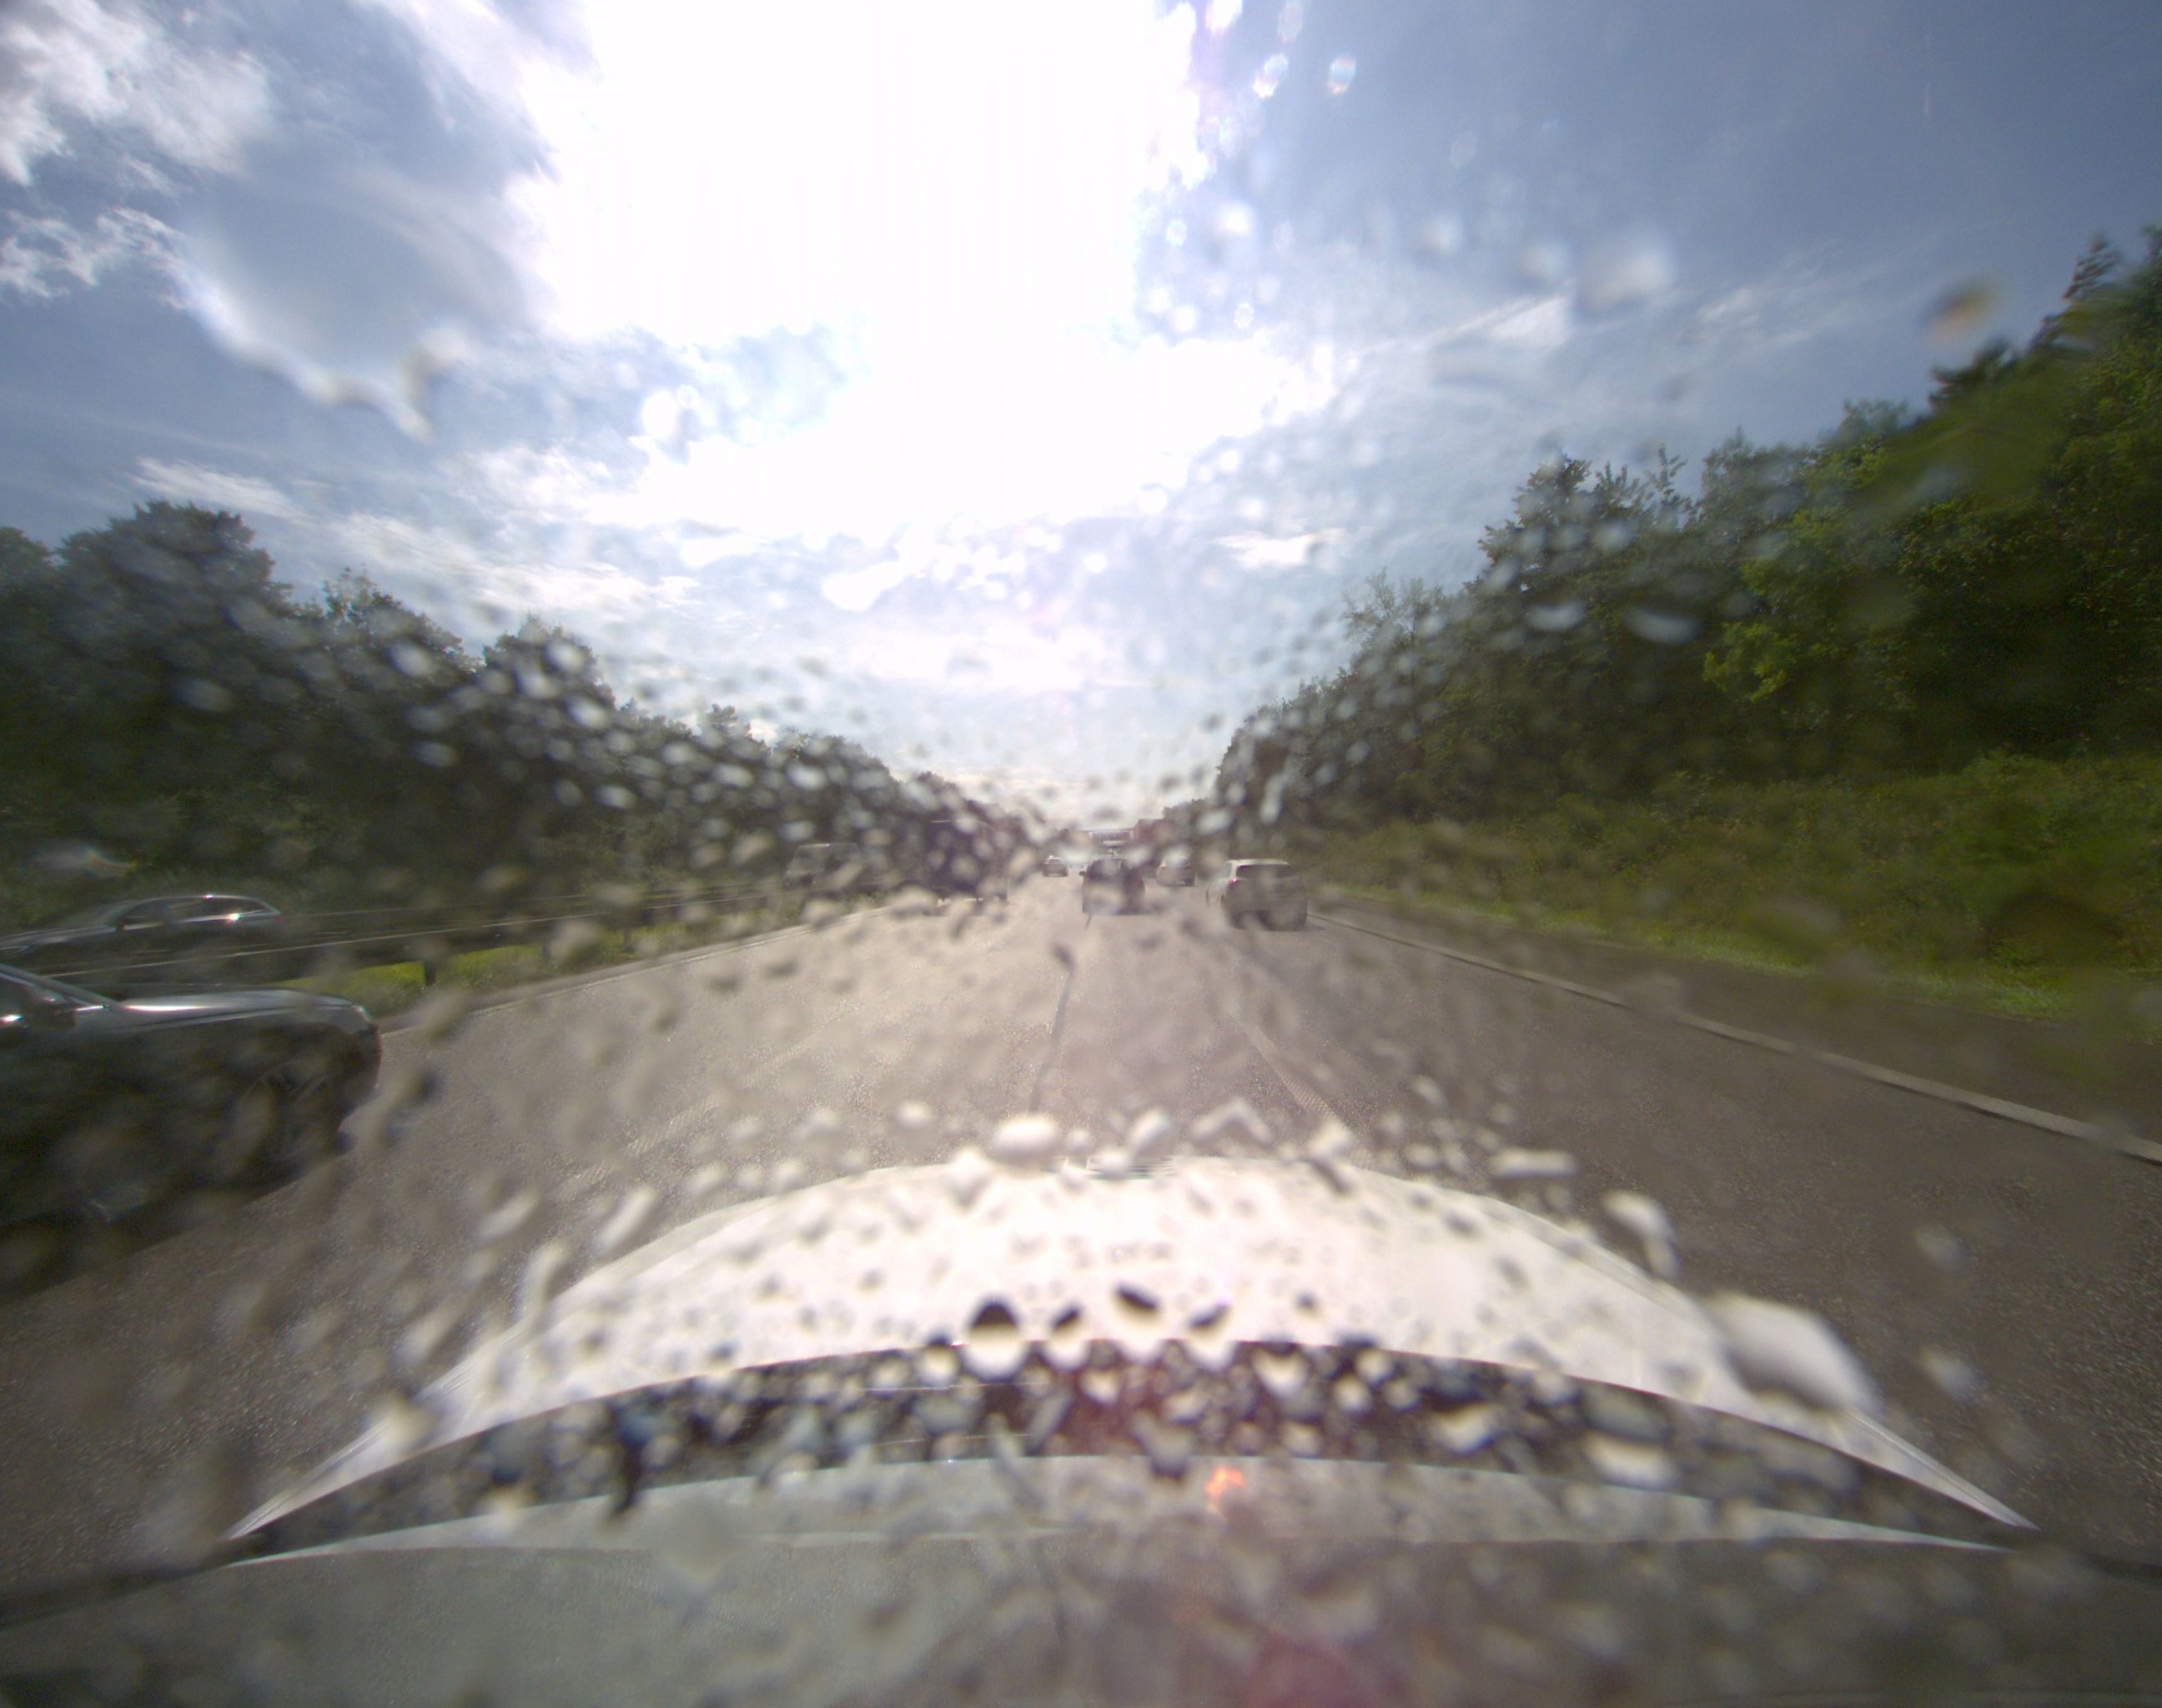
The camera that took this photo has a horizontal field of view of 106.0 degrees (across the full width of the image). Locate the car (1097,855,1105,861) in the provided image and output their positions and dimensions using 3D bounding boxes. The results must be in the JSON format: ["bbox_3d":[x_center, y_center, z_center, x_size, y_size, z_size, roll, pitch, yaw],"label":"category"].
[{"bbox_3d":[5.642,1.232,232.218,1.984,1.701,4.005,-2,0,5],"label":"car"}]

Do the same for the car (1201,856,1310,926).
[{"bbox_3d":[3.920,0.781,18.937,1.686,1.425,4.220,0,0,1],"label":"car"}]

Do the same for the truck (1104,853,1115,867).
[{"bbox_3d":[5.797,1.248,167.865,2.184,2.875,4.850,0,-1,1],"label":"truck"}]

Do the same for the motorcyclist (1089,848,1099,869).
[{"bbox_3d":[1.024,0.359,63.217,0.799,1.633,1.013,0,-1,0],"label":"motorcyclist"}]

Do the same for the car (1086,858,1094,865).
[{"bbox_3d":[1.846,1.507,164.180,1.544,1.267,3.484,0,0,0],"label":"car"}]

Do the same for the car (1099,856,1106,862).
[{"bbox_3d":[6.612,1.581,251.497,1.986,1.728,4.002,-1,0,2],"label":"car"}]

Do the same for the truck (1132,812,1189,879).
[{"bbox_3d":[6.127,-0.540,65.724,3.635,4.720,16.788,0,0,2],"label":"truck"}]

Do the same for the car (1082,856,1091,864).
[{"bbox_3d":[0.948,1.053,139.270,1.455,1.393,3.311,0,0,1],"label":"car"}]

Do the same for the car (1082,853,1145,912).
[{"bbox_3d":[0.900,0.777,23.700,1.712,1.568,3.485,0,0,1],"label":"car"}]

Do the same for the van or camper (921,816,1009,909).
[{"bbox_3d":[-3.593,0.264,26.278,1.987,2.669,5.385,0,0,1],"label":"van or camper"}]

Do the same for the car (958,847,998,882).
[{"bbox_3d":[-7.566,0.792,60.553,2.175,2.452,5.748,0,0,1],"label":"car"}]

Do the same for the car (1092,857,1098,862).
[{"bbox_3d":[3.540,1.347,210.524,1.544,1.267,3.484,0,0,0],"label":"car"}]

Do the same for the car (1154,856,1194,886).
[{"bbox_3d":[4.777,0.853,42.194,1.675,1.442,3.905,0,0,1],"label":"car"}]

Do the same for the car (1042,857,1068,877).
[{"bbox_3d":[-2.057,1.049,65.125,1.848,1.551,3.485,0,0,1],"label":"car"}]

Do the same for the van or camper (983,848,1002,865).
[{"bbox_3d":[-15.979,0.488,147.112,2.492,2.921,7.138,0,0,1],"label":"van or camper"}]

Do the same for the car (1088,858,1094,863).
[{"bbox_3d":[2.340,1.552,194.556,1.544,1.267,3.484,0,0,0],"label":"car"}]

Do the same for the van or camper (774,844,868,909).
[{"bbox_3d":[-12.572,1.039,39.976,2.254,2.870,6.842,0,0,2],"label":"van or camper"}]

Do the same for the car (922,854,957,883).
[{"bbox_3d":[-14.665,1.474,84.645,2.254,2.870,6.791,0,0,2],"label":"car"}]

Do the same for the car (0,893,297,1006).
[{"bbox_3d":[-17.051,1.551,14.476,1.811,1.499,4.529,0,0,1],"label":"car"}]

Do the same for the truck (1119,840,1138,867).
[{"bbox_3d":[8.429,-0.051,145.936,3.243,4.479,12.428,0,0,2],"label":"truck"}]

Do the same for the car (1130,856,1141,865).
[{"bbox_3d":[8.019,0.935,119.823,1.547,1.383,3.210,0,0,1],"label":"car"}]

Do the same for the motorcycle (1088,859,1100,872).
[{"bbox_3d":[1.015,0.876,63.256,0.887,1.000,2.896,0,0,1],"label":"motorcycle"}]

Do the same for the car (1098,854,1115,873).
[{"bbox_3d":[2.376,0.846,75.948,1.526,1.746,3.485,0,0,1],"label":"car"}]

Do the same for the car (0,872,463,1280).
[{"bbox_3d":[-4.753,0.811,2.578,1.787,1.419,4.840,0,0,2],"label":"car"}]

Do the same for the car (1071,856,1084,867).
[{"bbox_3d":[-0.489,1.011,112.494,1.745,1.457,3.390,0,0,1],"label":"car"}]
